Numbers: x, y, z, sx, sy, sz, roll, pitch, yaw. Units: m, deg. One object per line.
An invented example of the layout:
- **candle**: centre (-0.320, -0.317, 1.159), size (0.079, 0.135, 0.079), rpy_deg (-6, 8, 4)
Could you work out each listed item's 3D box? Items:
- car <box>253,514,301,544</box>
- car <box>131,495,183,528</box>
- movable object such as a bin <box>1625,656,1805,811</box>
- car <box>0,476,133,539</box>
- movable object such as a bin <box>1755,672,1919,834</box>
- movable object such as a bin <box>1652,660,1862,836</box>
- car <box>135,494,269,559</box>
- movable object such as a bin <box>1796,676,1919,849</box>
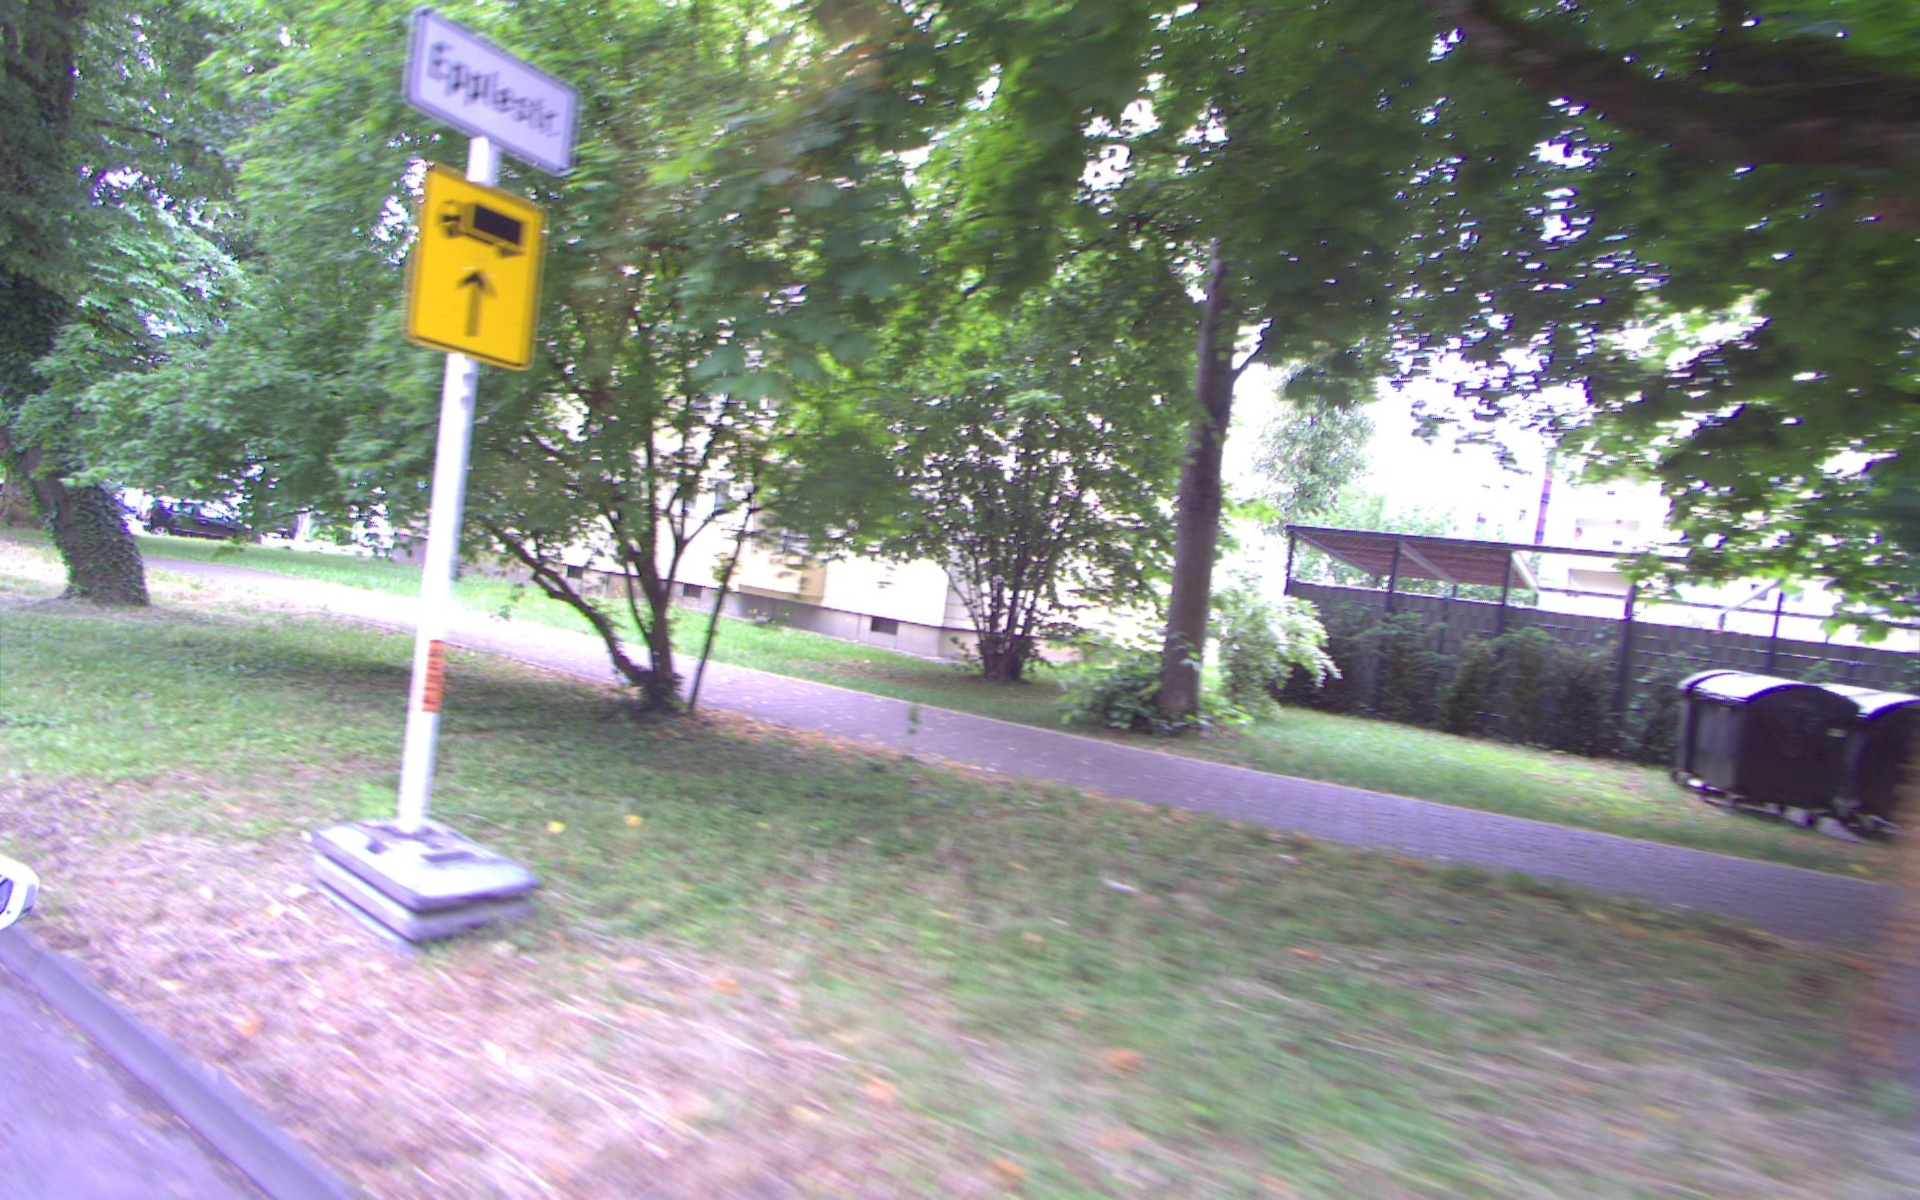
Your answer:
- **car**: centre (-43.018, -4.498, 63.296), size (2.073, 1.529, 3.955), rpy_deg (6, 1, -40)
- **car**: centre (-44.224, -4.848, 55.474), size (1.782, 1.529, 3.963), rpy_deg (6, 1, -34)
- **movable object such as a bin**: centre (8.847, 1.513, 11.896), size (1.291, 1.521, 1.329), rpy_deg (7, 2, 25)
- **car**: centre (-32.886, -3.371, 36.592), size (1.773, 1.576, 3.985), rpy_deg (11, 1, 39)
- **movable object such as a bin**: centre (10.062, 1.677, 11.334), size (1.291, 1.521, 1.329), rpy_deg (7, 2, 25)
- **movable object such as a bin**: centre (8.296, 1.483, 10.593), size (1.291, 1.521, 1.329), rpy_deg (7, 2, 25)
- **car**: centre (-29.706, -2.871, 39.538), size (3.970, 1.747, 1.780), rpy_deg (9, 1, -38)
- **movable object such as a bin**: centre (9.481, 1.625, 10.041), size (1.291, 1.521, 1.329), rpy_deg (7, 2, 25)
